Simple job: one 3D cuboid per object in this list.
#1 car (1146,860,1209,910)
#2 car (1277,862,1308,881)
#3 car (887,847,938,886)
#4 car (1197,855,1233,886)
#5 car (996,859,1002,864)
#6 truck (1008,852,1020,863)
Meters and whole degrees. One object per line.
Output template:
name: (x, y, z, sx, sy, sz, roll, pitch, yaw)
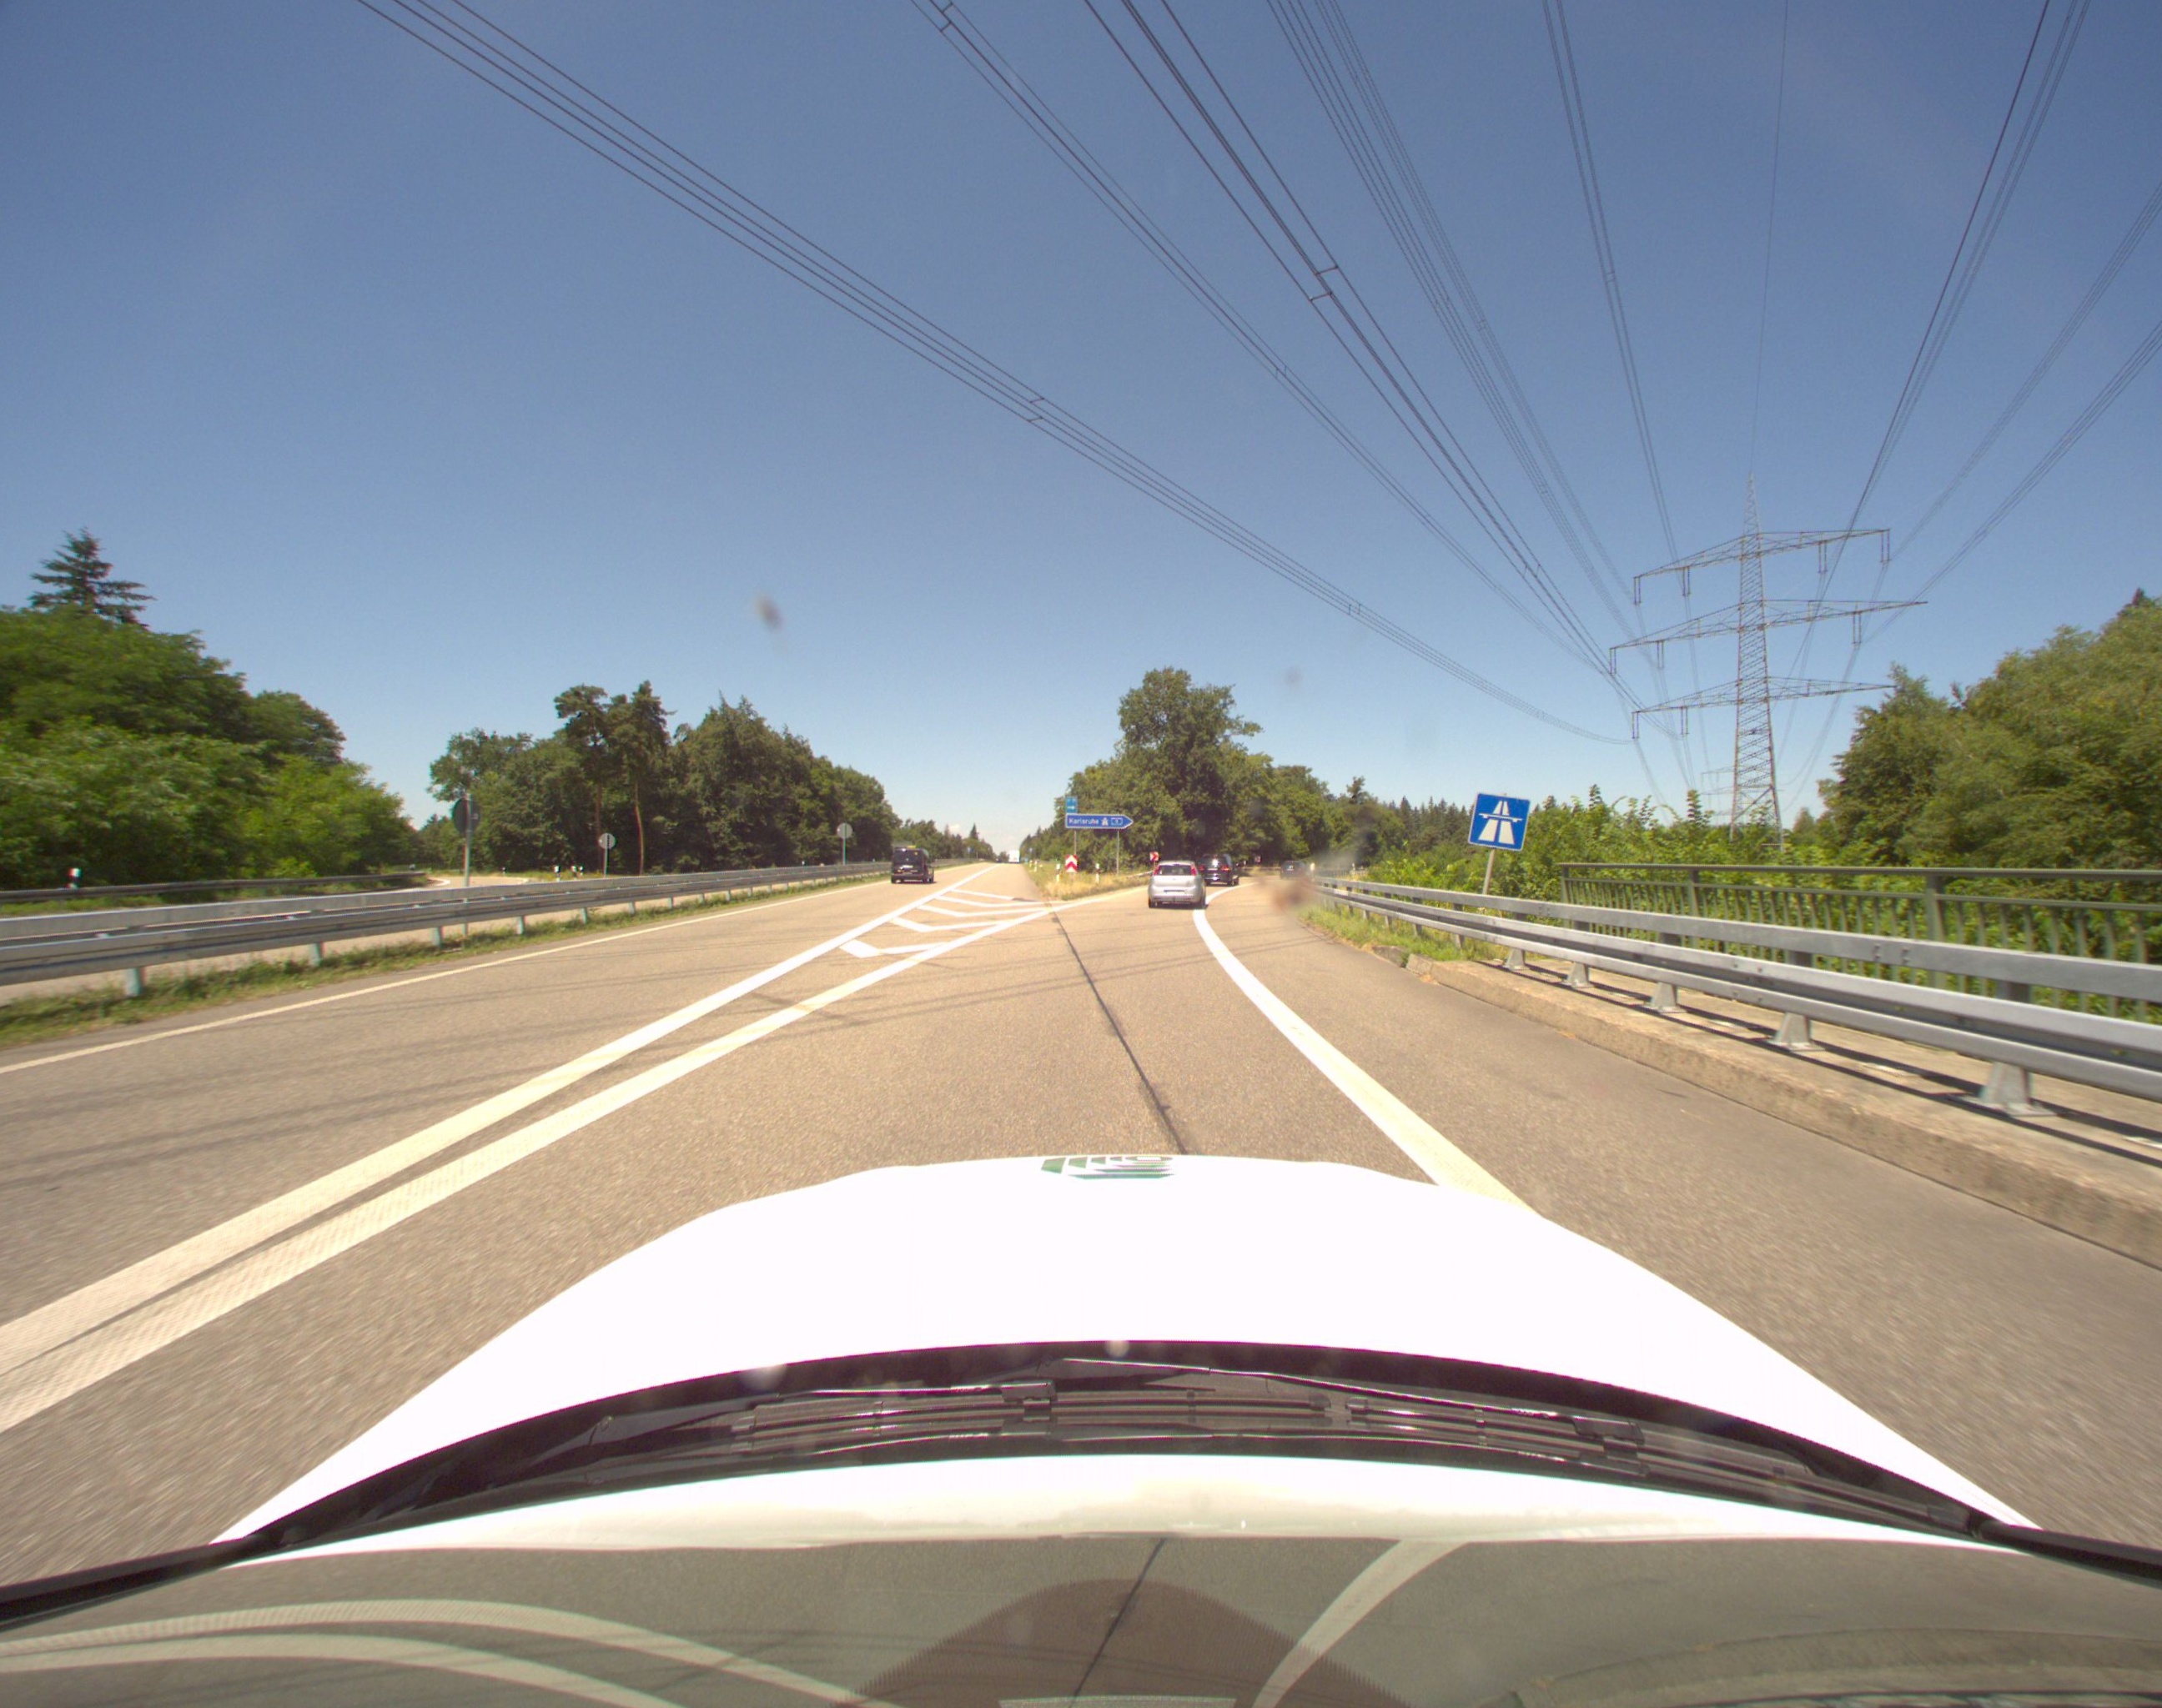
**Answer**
car: (3.138, 0.941, 26.062, 1.629, 1.468, 3.430, 2, 0, 12)
car: (16.198, 1.339, 62.211, 1.625, 1.342, 3.594, 1, 0, 25)
car: (-8.800, 0.634, 42.992, 1.850, 1.887, 5.565, -1, 0, -4)
car: (7.481, 0.903, 45.360, 1.628, 1.654, 3.587, 2, 0, 14)
car: (-23.767, 2.232, 236.534, 1.709, 1.471, 3.569, 2, 0, -4)
truck: (-15.688, 0.813, 190.208, 2.614, 2.642, 7.653, 0, 0, -5)
